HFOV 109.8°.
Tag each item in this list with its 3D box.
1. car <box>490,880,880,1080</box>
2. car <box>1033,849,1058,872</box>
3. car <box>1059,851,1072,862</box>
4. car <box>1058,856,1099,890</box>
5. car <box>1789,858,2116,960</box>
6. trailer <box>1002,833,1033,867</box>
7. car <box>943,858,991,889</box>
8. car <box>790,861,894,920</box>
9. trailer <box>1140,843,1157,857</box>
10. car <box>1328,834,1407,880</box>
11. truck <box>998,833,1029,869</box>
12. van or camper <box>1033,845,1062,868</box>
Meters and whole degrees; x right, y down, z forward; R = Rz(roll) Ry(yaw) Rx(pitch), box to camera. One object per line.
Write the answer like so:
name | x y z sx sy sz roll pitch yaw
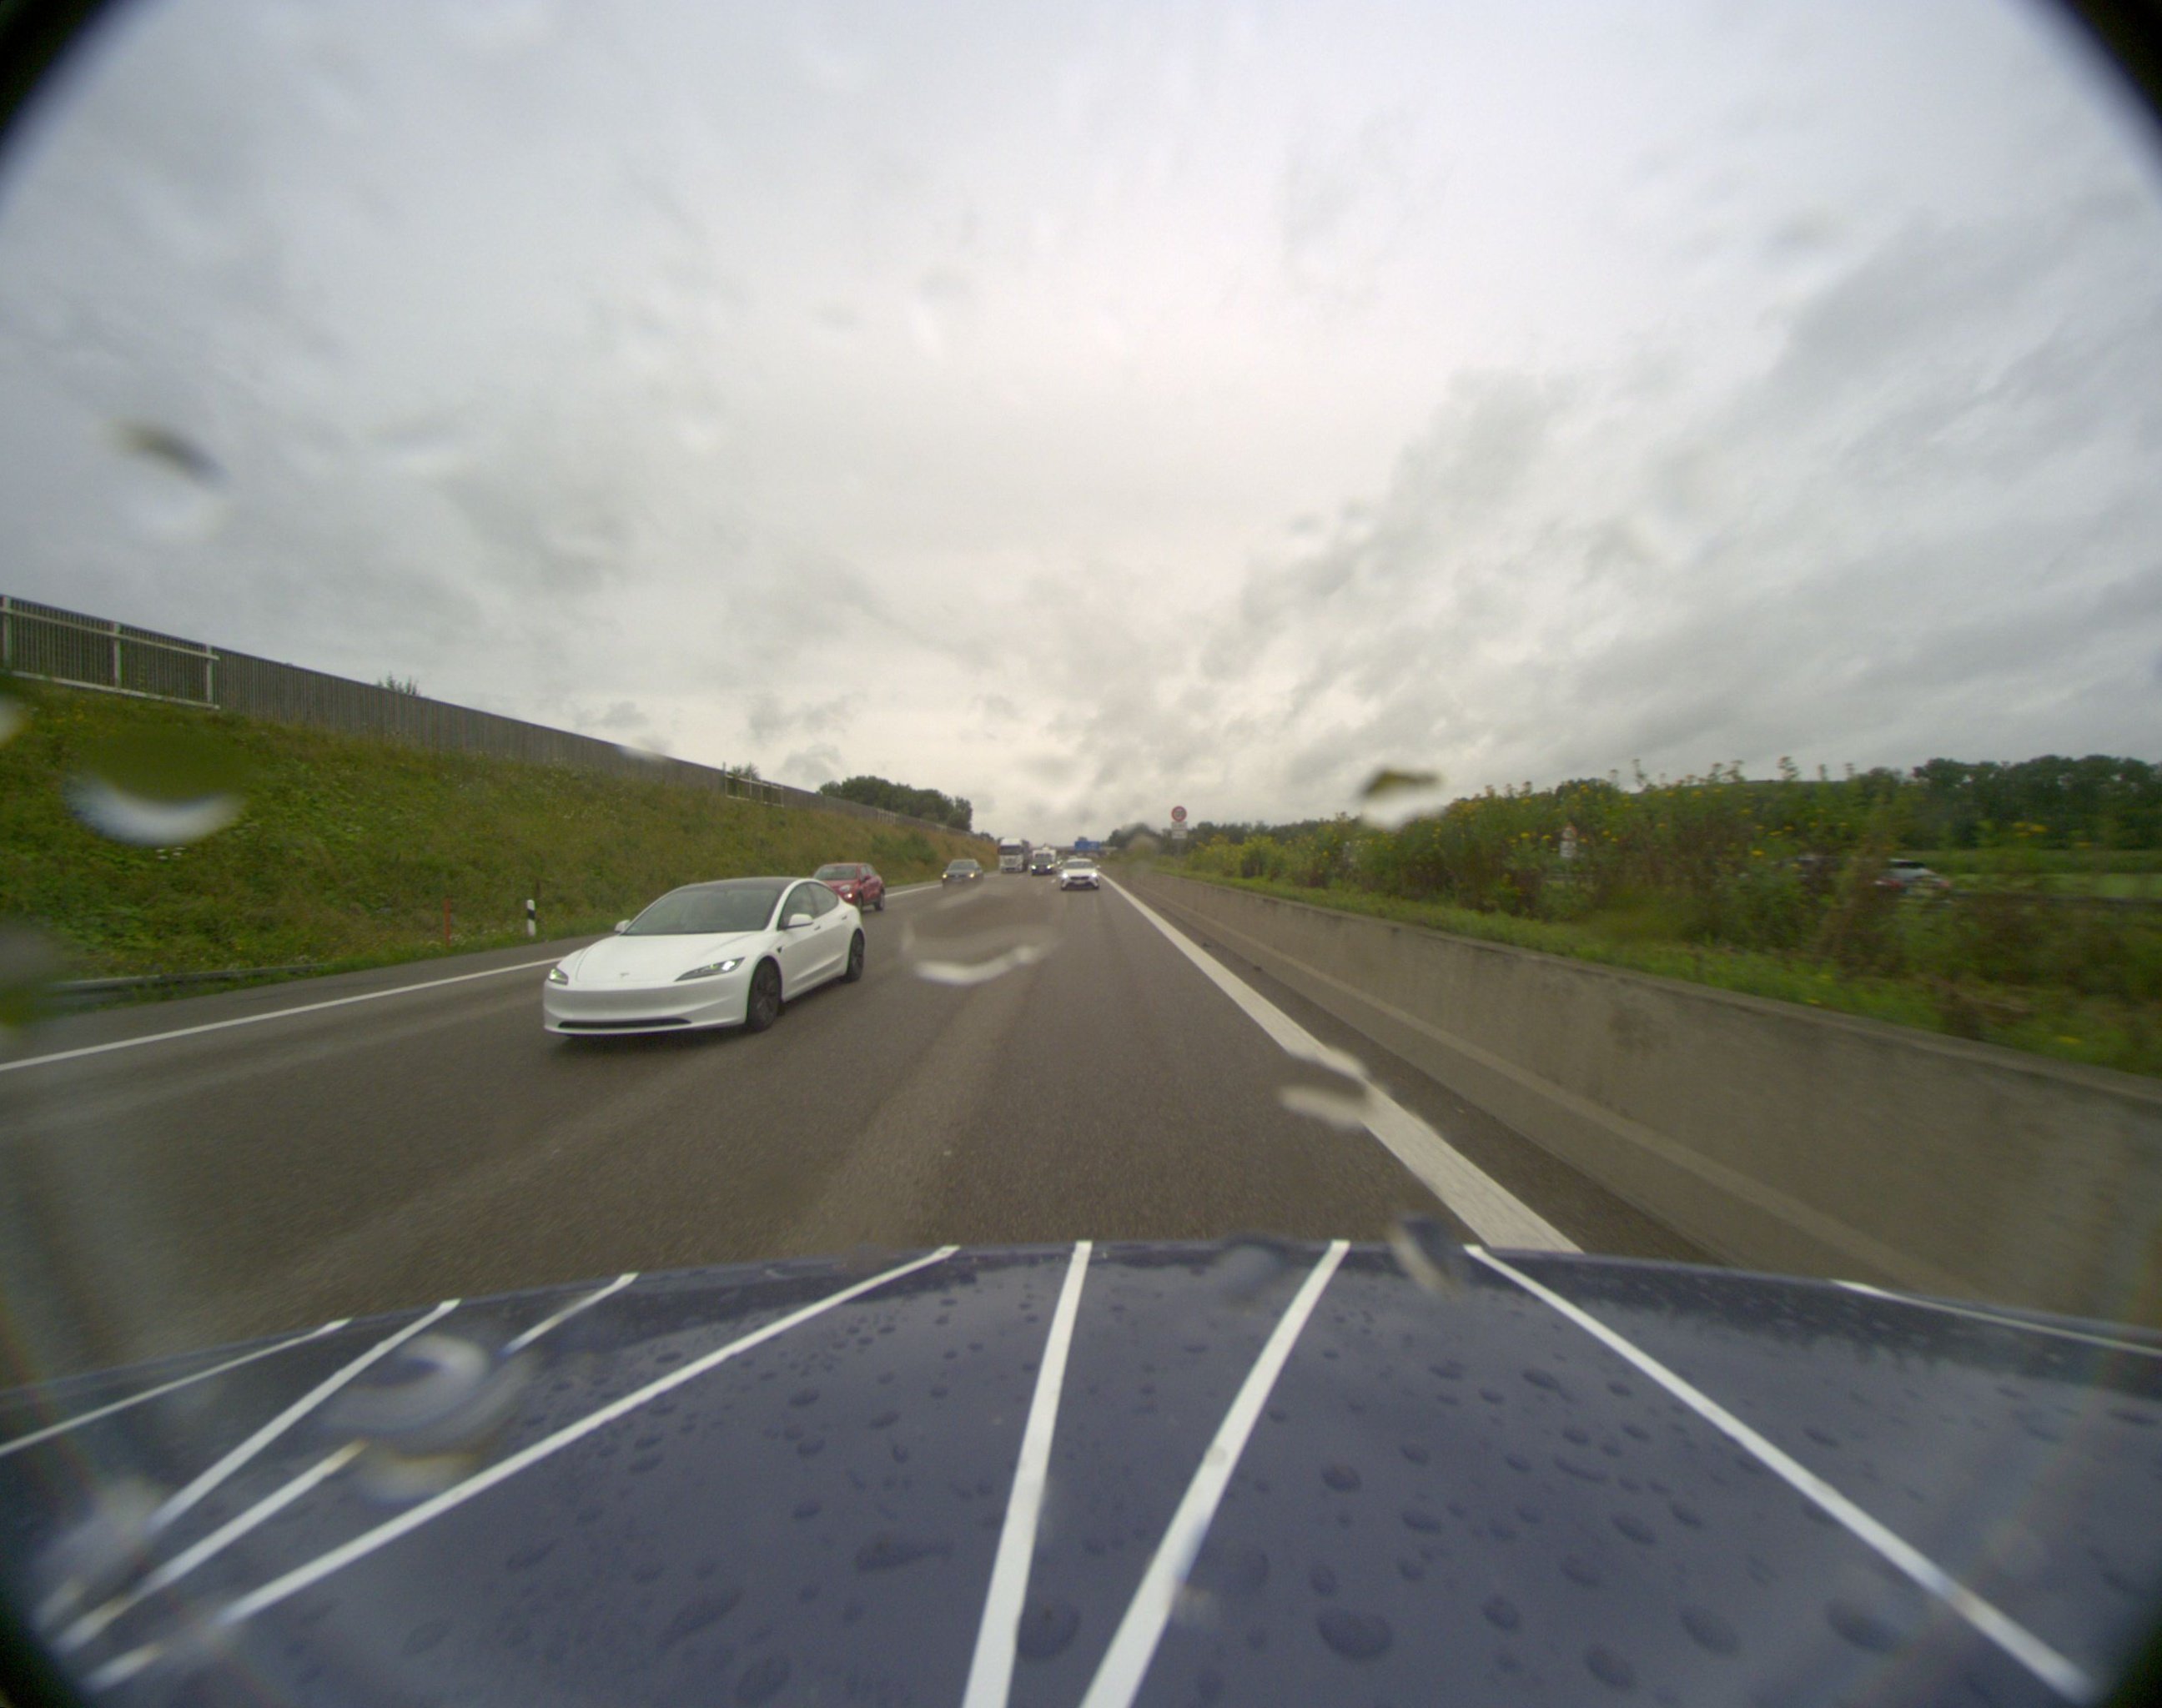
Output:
car | -3.854 1.108 8.601 1.878 1.355 4.812 -2 1 -1
car | -3.352 0.566 72.250 1.998 2.002 4.937 -2 1 1
car | -2.519 0.410 122.527 1.999 1.759 3.999 0 0 -1
car | -0.108 0.866 37.237 1.841 1.455 4.000 -2 1 1
car | 17.134 0.971 15.306 1.998 1.696 4.000 -2 0 1
trailer | -8.113 -0.521 99.325 3.090 4.003 15.218 -2 1 -2
car | -6.417 1.064 43.165 1.929 1.480 4.485 -2 1 1
car | -7.328 1.073 23.728 1.878 1.526 4.000 -2 1 1
trailer | 16.867 -1.054 190.455 2.922 3.409 13.239 -2 1 -1
car | 17.513 0.141 46.911 2.251 2.515 6.905 -2 1 0
truck | -7.946 -0.405 90.548 3.090 4.003 6.955 -2 1 -2
van or camper | -3.327 0.228 77.596 2.432 2.139 6.498 -2 1 2
